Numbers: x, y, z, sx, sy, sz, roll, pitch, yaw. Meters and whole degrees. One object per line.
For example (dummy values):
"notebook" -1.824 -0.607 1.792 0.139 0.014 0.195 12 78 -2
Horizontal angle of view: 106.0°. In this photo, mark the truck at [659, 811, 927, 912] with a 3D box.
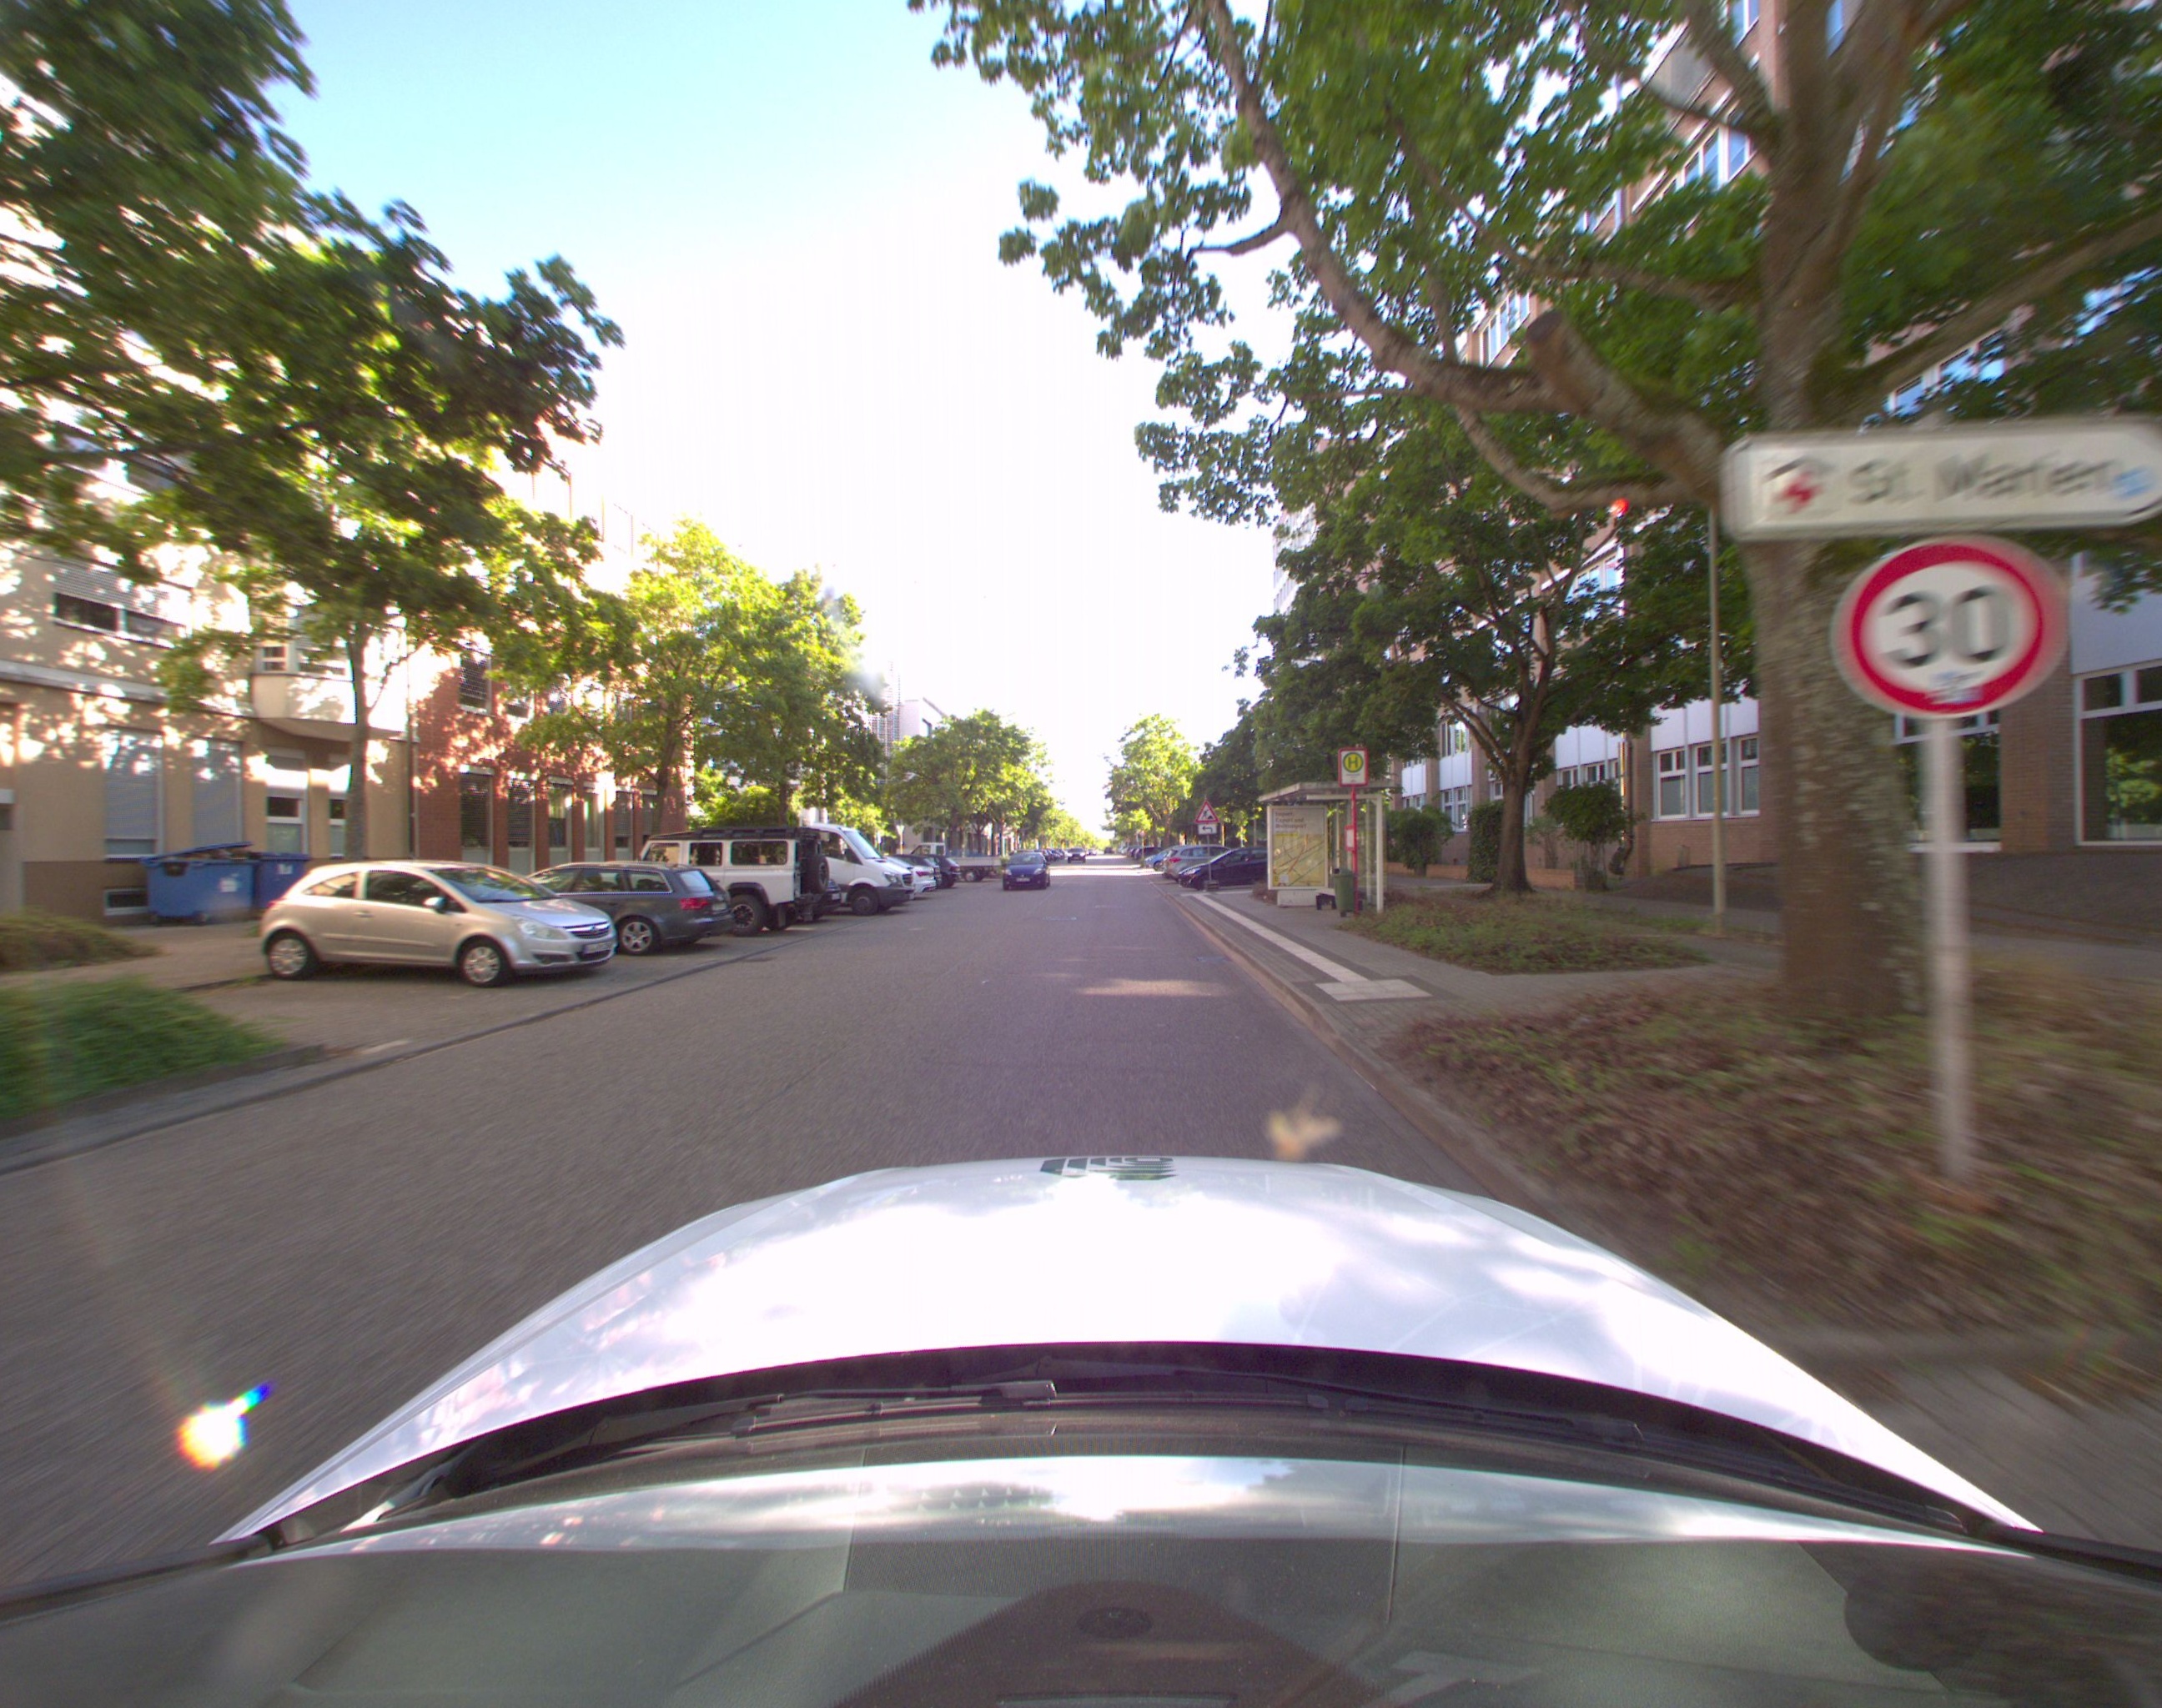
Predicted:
"truck" -7.408 0.179 21.424 6.207 2.422 2.189 -1 0 2

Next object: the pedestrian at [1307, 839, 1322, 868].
"pedestrian" 12.378 -0.006 43.248 0.600 1.520 0.594 -1 0 -1

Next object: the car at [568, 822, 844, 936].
"car" -7.226 0.468 16.076 4.467 2.052 2.000 1 0 0

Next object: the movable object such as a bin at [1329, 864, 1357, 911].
"movable object such as a bin" 4.359 0.556 13.570 0.297 0.753 0.467 -3 0 2

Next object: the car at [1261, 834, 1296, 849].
"car" 25.956 -1.622 107.016 4.062 1.783 1.998 1 0 -3

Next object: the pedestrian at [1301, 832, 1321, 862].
"pedestrian" 13.359 -0.399 47.359 0.696 1.711 0.918 -4 1 -9

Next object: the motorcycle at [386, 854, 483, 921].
"motorcycle" -16.302 0.803 20.611 0.712 1.591 2.110 -1 0 0

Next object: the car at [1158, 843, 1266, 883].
"car" 5.660 0.373 35.490 4.344 1.597 1.936 -1 0 -5

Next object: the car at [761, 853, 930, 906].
"car" -6.920 0.723 24.241 4.412 1.487 2.000 0 0 0

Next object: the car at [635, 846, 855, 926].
"car" -7.488 0.694 18.480 4.094 1.662 2.000 1 0 0

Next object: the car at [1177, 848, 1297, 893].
"car" 5.302 0.551 28.115 3.915 1.439 1.777 -1 0 5

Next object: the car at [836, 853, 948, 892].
"car" -7.395 0.713 32.108 3.972 1.435 1.722 -1 0 1

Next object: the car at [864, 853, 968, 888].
"car" -6.985 0.681 34.661 3.967 1.435 1.792 0 0 5

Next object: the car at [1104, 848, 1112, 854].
"car" 6.687 -0.734 199.100 1.926 1.597 4.368 -1 0 2

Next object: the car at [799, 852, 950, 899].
"car" -6.828 0.696 27.275 4.526 1.442 1.890 1 1 0

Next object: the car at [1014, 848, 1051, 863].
"car" -4.999 0.130 85.026 3.720 1.464 1.677 -1 0 0

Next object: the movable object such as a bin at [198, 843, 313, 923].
"movable object such as a bin" -17.004 0.567 16.826 1.145 1.563 1.240 -1 0 -11

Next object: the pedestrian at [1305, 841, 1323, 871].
"pedestrian" 12.264 0.102 42.909 0.754 1.552 0.559 -1 0 -1

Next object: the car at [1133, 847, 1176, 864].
"car" 7.546 0.145 84.039 4.255 1.633 1.857 -2 0 -1

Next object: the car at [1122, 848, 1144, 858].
"car" 9.880 -0.199 155.452 3.978 1.792 1.998 -1 0 -4

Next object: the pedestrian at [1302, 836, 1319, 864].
"pedestrian" 12.112 -0.226 42.982 0.698 1.458 0.715 -1 0 -1

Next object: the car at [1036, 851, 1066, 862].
"car" -4.059 0.344 109.858 3.879 1.464 1.858 -1 0 0

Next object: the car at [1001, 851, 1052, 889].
"car" -2.141 0.596 32.893 1.637 1.420 4.002 -1 0 2

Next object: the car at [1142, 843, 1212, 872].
"car" 6.317 0.247 53.908 4.389 1.618 1.912 -4 0 1

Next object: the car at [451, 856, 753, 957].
"car" -7.621 0.805 13.270 3.769 1.492 1.831 1 0 -3

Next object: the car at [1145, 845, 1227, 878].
"car" 5.221 0.363 40.887 3.792 1.408 1.700 -3 1 -4

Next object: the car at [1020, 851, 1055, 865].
"car" -4.723 0.466 88.913 3.720 1.464 1.677 -1 0 0

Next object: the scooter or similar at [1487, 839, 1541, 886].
"scooter or similar" 12.734 0.241 23.984 0.547 1.325 1.804 1 0 -3

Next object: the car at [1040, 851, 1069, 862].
"car" -3.733 0.353 113.952 3.879 1.464 1.858 -1 0 0

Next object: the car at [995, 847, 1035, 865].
"car" -6.086 0.172 75.336 3.569 1.549 1.637 0 -3 -1

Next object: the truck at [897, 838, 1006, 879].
"truck" -6.432 0.221 40.829 4.963 1.959 2.140 -1 0 3

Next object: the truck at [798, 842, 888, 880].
"truck" -18.203 0.527 62.495 6.084 2.704 2.578 -1 0 0

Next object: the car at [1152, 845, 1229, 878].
"car" 5.833 0.393 43.589 3.833 1.483 1.825 -3 1 1

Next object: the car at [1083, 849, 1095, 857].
"car" 1.529 -0.243 151.779 1.804 1.415 4.114 0 0 5

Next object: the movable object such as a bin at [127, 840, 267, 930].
"movable object such as a bin" -16.792 0.554 15.531 1.145 1.619 1.437 -1 0 -10

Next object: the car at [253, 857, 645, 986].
"car" -8.033 0.792 10.576 3.816 1.461 1.735 1 0 5

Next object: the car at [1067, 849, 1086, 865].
"car" -0.482 0.293 87.888 1.886 1.684 4.352 -1 0 0
